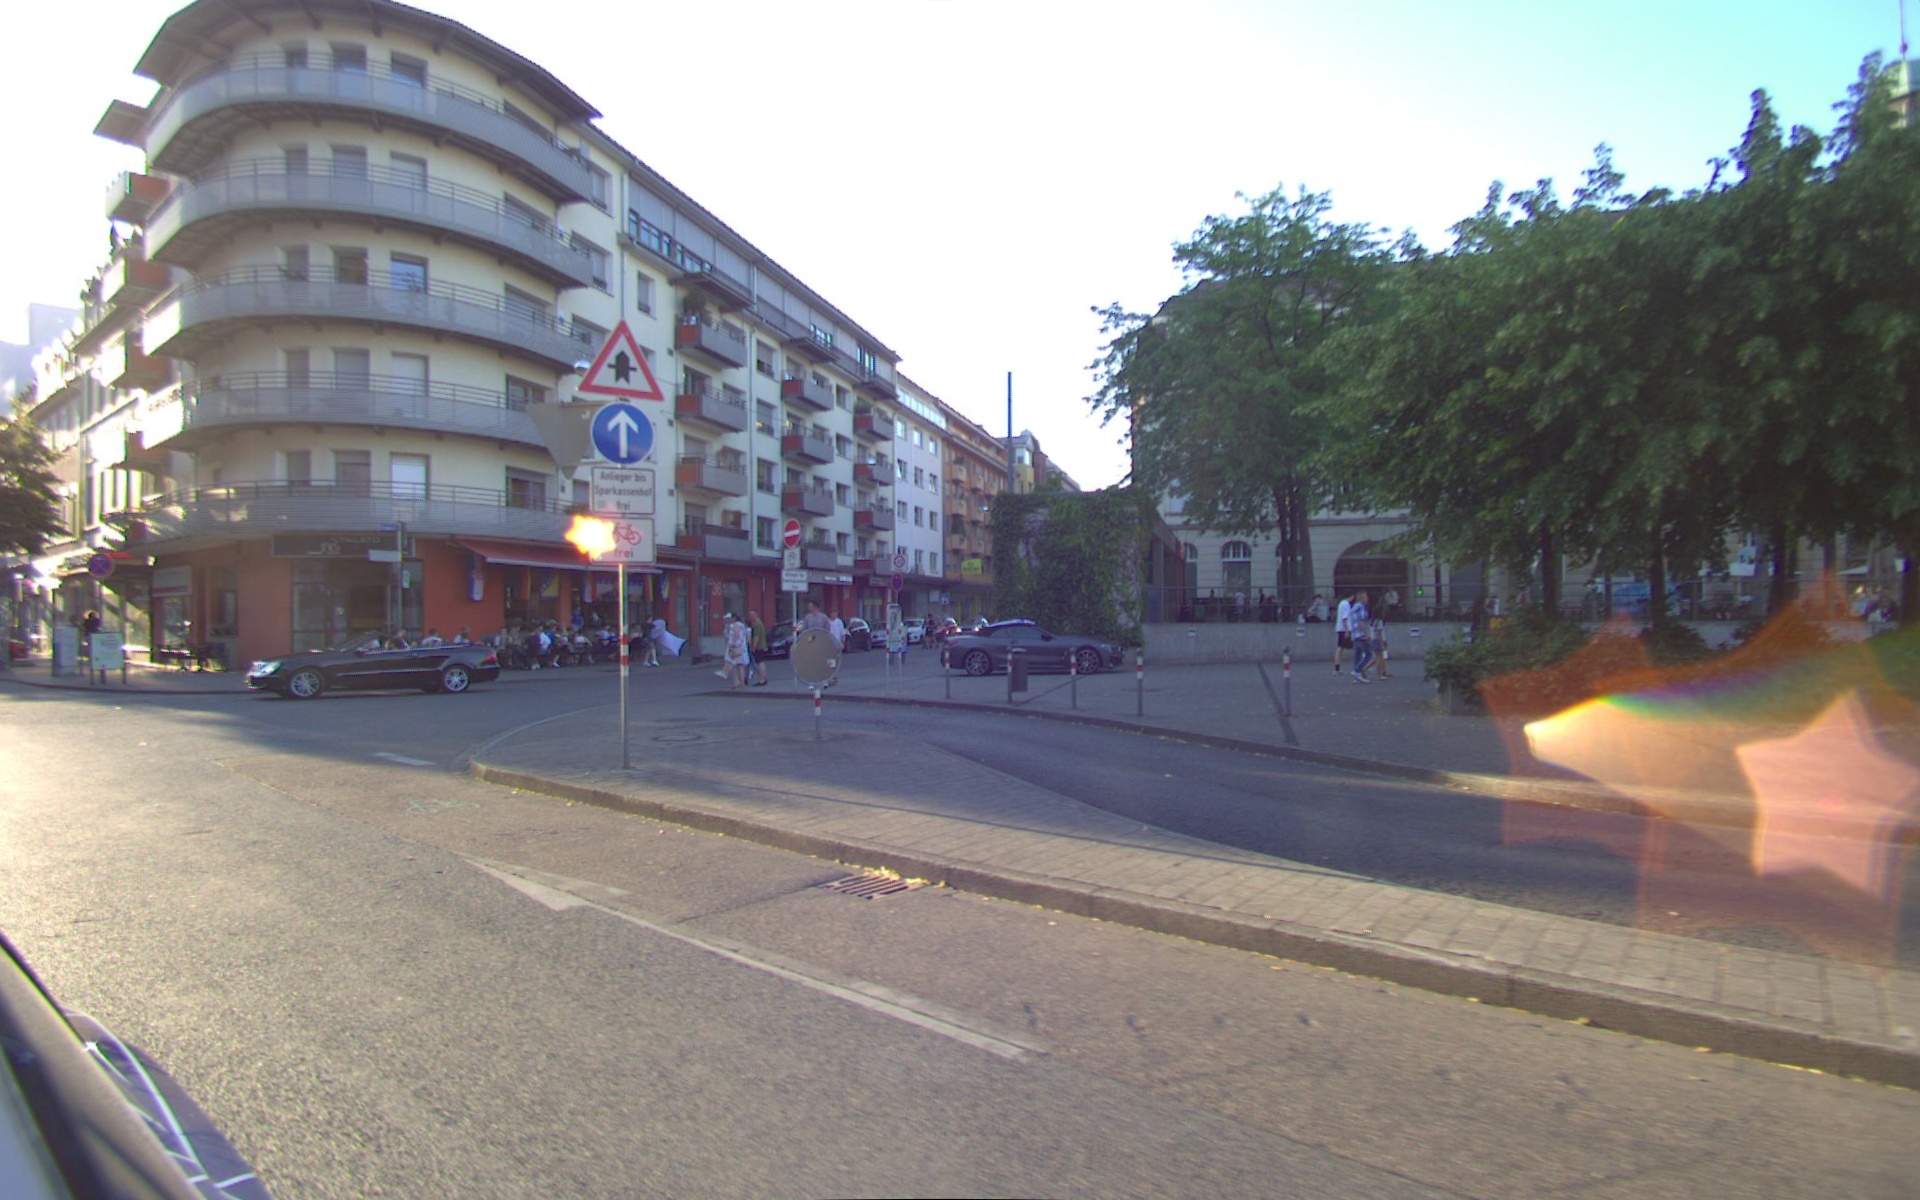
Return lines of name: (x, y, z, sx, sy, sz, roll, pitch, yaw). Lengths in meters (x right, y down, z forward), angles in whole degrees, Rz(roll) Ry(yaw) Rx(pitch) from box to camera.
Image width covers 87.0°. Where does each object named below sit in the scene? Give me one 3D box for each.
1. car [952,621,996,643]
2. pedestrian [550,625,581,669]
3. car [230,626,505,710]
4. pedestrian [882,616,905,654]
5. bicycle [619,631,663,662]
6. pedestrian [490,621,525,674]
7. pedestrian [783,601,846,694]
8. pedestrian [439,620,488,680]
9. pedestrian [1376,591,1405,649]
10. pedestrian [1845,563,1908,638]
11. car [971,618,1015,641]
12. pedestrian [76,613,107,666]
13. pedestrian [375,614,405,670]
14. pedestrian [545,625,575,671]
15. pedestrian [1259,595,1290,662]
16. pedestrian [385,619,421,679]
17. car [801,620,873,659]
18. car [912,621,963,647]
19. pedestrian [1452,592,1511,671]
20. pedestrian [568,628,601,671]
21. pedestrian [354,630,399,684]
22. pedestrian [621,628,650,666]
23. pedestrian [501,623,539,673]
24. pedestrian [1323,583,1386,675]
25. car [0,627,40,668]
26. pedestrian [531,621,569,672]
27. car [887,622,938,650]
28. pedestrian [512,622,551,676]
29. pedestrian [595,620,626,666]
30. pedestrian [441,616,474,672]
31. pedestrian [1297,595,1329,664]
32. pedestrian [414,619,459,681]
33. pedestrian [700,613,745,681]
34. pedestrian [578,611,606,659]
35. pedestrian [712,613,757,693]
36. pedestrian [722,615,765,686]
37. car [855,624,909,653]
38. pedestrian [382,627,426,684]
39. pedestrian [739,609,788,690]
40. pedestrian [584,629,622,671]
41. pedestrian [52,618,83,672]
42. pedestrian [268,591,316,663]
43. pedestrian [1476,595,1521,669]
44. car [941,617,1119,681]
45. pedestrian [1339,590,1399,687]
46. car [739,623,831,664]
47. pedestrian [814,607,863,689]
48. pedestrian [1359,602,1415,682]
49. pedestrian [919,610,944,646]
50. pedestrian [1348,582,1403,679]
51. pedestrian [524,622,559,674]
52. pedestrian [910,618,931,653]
car: (1.006, 2.212, 70.578, 1.883, 1.488, 4.276, -2, -2, 17)
pedestrian: (-12.988, 1.549, 33.317, 0.708, 1.432, 0.599, -2, -2, 15)
car: (-11.986, 1.292, 20.705, 1.811, 1.418, 4.550, 0, 0, 44)
pedestrian: (-3.363, 1.773, 51.209, 0.991, 1.841, 0.948, -2, -2, -12)
bicycle: (-11.763, 1.710, 37.377, 0.545, 1.095, 1.995, -2, -2, 15)
pedestrian: (-13.598, 1.427, 30.448, 0.669, 1.547, 0.652, 1, -1, 14)
pedestrian: (-3.049, 0.996, 21.295, 0.977, 1.898, 0.885, -3, -2, 18)
pedestrian: (-13.387, 1.336, 27.301, 0.708, 1.547, 0.848, 3, 0, 17)
pedestrian: (15.213, 0.701, 35.780, 0.826, 2.029, 1.059, -1, -1, 19)
pedestrian: (21.823, 0.019, 24.123, 0.696, 1.740, 0.916, -1, -1, 14)
car: (2.521, 2.212, 76.069, 1.985, 1.628, 4.338, -3, -2, 20)
pedestrian: (-33.224, 1.507, 38.712, 0.803, 1.963, 0.722, -2, -1, 34)
pedestrian: (-18.439, 1.341, 32.734, 0.606, 1.790, 0.615, -2, -2, 13)
pedestrian: (-12.795, 1.535, 32.410, 0.661, 1.445, 0.558, 1, -1, 13)
pedestrian: (8.670, 0.778, 27.923, 0.756, 1.795, 0.793, -1, -1, 17)
pedestrian: (-14.997, 1.315, 27.278, 0.702, 1.547, 0.855, -1, -2, -19)
car: (-5.709, 1.824, 47.422, 1.868, 1.712, 4.116, -2, -2, 16)
car: (-1.386, 2.126, 63.324, 1.852, 1.488, 4.369, -2, -2, 17)
pedestrian: (10.912, 0.669, 21.188, 0.788, 1.594, 0.729, -2, -2, 4)
pedestrian: (-11.978, 1.568, 32.261, 0.649, 1.355, 0.746, 1, -1, 13)
pedestrian: (-14.820, 1.437, 25.716, 0.675, 1.291, 0.970, 0, 1, -9)
pedestrian: (-11.340, 1.629, 35.430, 0.840, 1.287, 0.715, 0, 1, -6)
pedestrian: (-13.524, 1.483, 31.147, 0.762, 1.515, 0.780, -1, -2, 13)
pedestrian: (8.282, 0.613, 21.284, 0.878, 1.867, 0.984, -2, -2, 3)
car: (-37.552, 1.810, 37.868, 1.815, 1.553, 4.388, -2, -1, 38)
pedestrian: (-12.854, 1.457, 31.750, 0.844, 1.548, 0.677, -2, -2, 13)
car: (-2.720, 2.074, 59.124, 1.753, 1.488, 3.926, -2, -2, 16)
pedestrian: (-12.733, 1.452, 30.090, 0.707, 1.547, 0.757, 3, -1, 12)
pedestrian: (-12.199, 1.503, 35.347, 0.840, 1.548, 0.715, -2, -2, -6)
pedestrian: (-14.284, 1.245, 28.749, 0.638, 1.548, 0.754, 0, -2, -42)
pedestrian: (9.623, 0.806, 27.615, 0.696, 1.833, 1.117, -1, -1, 14)
pedestrian: (-13.762, 1.310, 26.627, 0.712, 1.547, 0.682, -1, 4, 33)
pedestrian: (-6.470, 1.284, 27.598, 0.845, 1.807, 0.864, -2, -2, 18)
pedestrian: (-13.511, 1.277, 37.164, 0.712, 1.734, 0.665, -2, -2, 15)
pedestrian: (-5.253, 1.229, 23.612, 0.707, 1.817, 0.880, -2, -2, 11)
pedestrian: (-5.722, 1.327, 26.751, 0.805, 1.807, 0.732, -2, -2, 18)
car: (-4.095, 2.027, 53.915, 1.736, 1.414, 3.950, -2, -2, 13)
pedestrian: (-14.039, 1.389, 25.569, 0.758, 1.392, 0.841, 0, 0, -10)
pedestrian: (-4.697, 1.171, 24.211, 0.712, 1.891, 0.843, -3, -2, 30)
pedestrian: (-11.775, 1.631, 33.368, 0.876, 1.315, 0.843, 0, 0, 35)
pedestrian: (-33.594, 1.686, 38.084, 0.738, 1.963, 0.722, -2, -1, 34)
pedestrian: (-19.421, 0.777, 29.414, 0.811, 2.029, 0.853, -2, 0, 30)
pedestrian: (11.517, 0.682, 21.637, 0.669, 1.554, 0.593, 0, -2, -42)
car: (1.870, 1.260, 26.267, 4.400, 1.441, 2.100, -2, -2, 10)
pedestrian: (7.666, 0.716, 19.002, 0.676, 1.759, 0.718, -1, -2, -13)
car: (-7.178, 1.768, 42.011, 1.864, 1.564, 4.604, -2, -2, 17)
pedestrian: (-2.781, 1.093, 23.200, 0.971, 1.807, 0.890, -2, -2, 1)
pedestrian: (8.252, 0.800, 19.576, 0.704, 1.497, 0.605, -2, -2, -12)
pedestrian: (-1.412, 1.381, 50.215, 0.830, 1.740, 0.912, -2, -2, 29)
pedestrian: (8.276, 0.607, 20.159, 0.715, 1.890, 0.770, -4, -3, 44)
pedestrian: (-12.768, 1.461, 30.892, 0.644, 1.539, 0.697, 3, -1, 12)
pedestrian: (-1.986, 1.788, 50.954, 0.911, 1.740, 0.700, -1, -1, 11)
